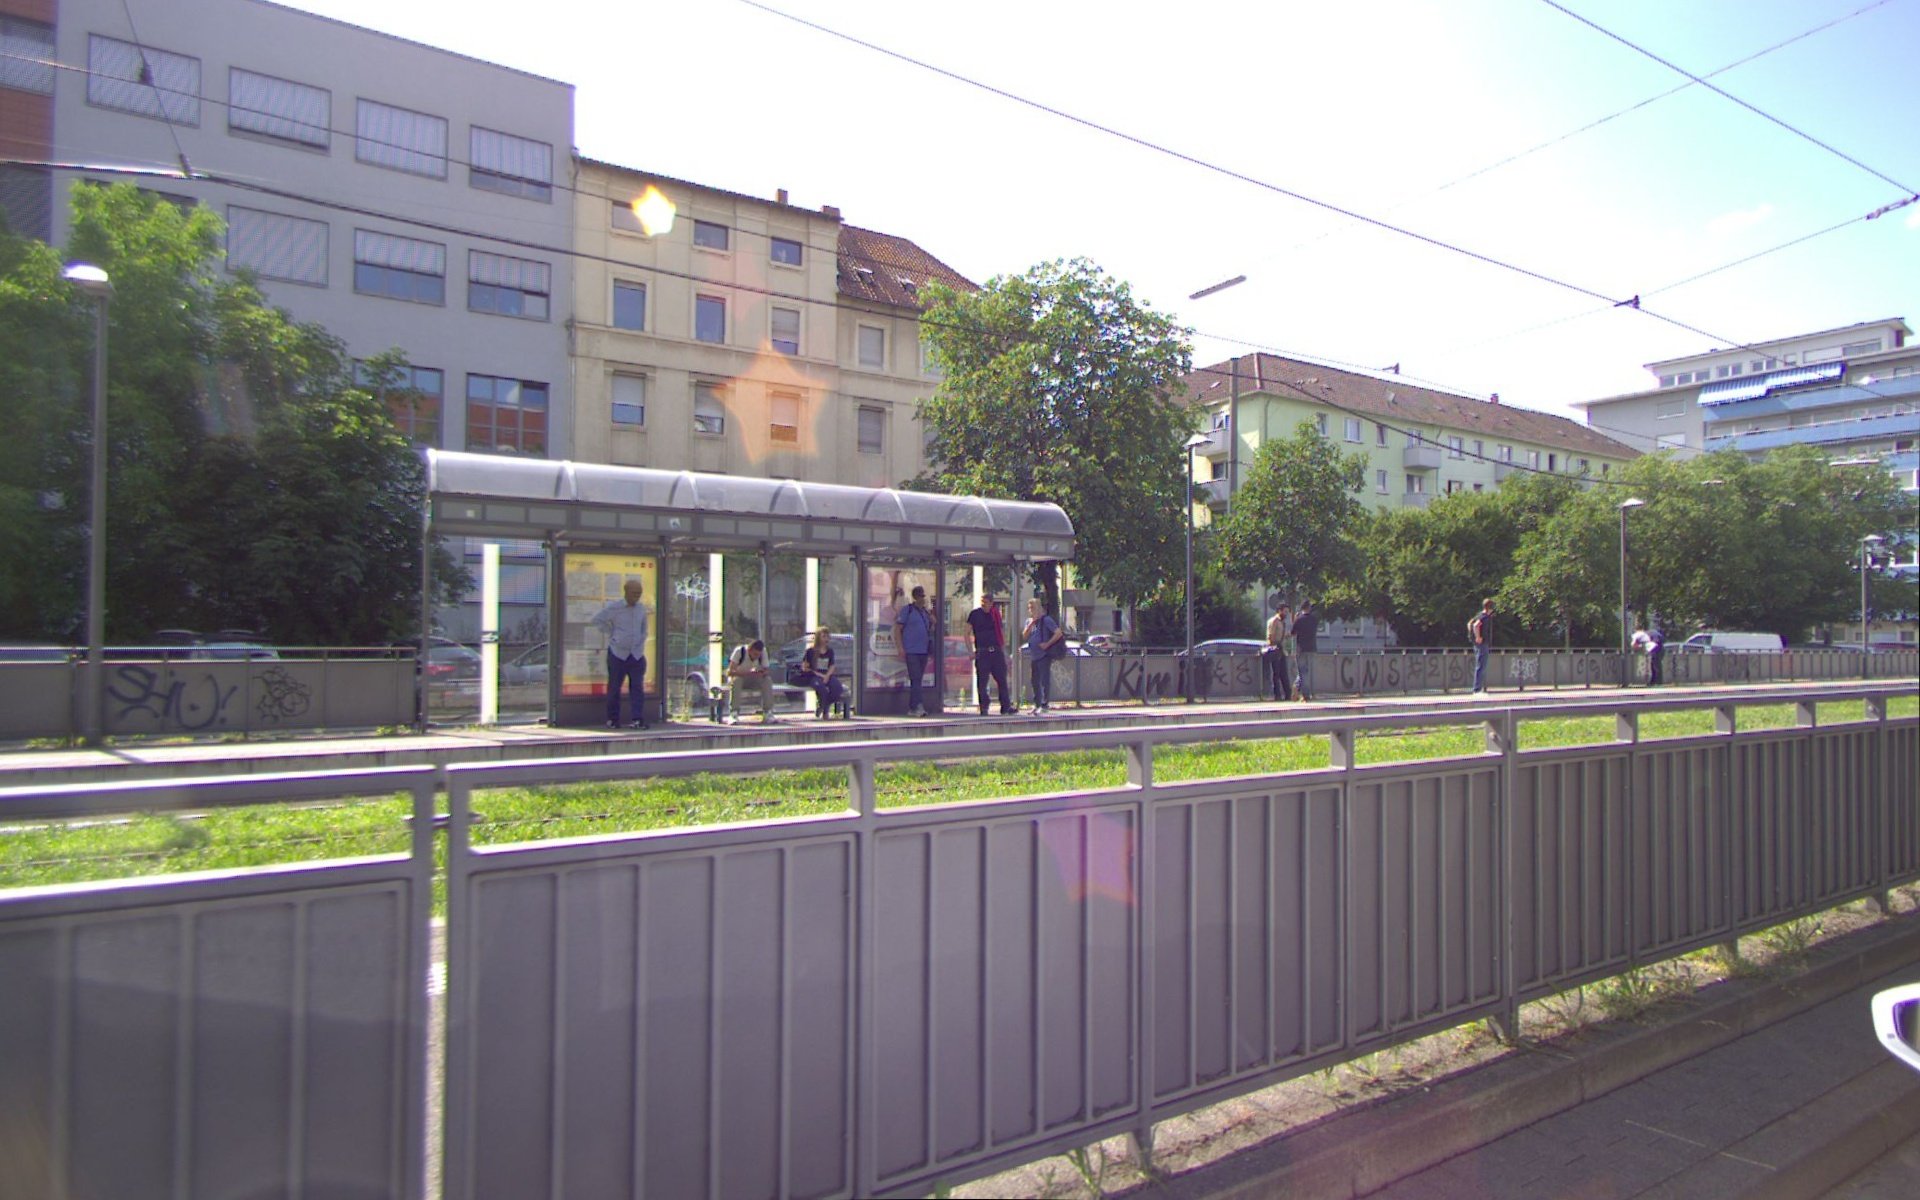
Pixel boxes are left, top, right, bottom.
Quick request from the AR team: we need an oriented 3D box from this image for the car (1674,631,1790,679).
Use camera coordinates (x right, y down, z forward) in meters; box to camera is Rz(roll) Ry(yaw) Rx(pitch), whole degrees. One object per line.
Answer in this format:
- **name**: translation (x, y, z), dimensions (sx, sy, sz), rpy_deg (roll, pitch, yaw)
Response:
- **car**: translation (35.017, 2.449, 45.714), dimensions (3.880, 2.097, 2.047), rpy_deg (-1, -2, 29)

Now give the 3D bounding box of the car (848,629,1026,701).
- **car**: translation (-0.558, 1.579, 25.024), dimensions (4.055, 1.661, 1.835), rpy_deg (0, -3, 21)

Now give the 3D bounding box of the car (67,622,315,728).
- **car**: translation (-13.208, 1.244, 17.252), dimensions (3.924, 1.661, 1.672), rpy_deg (-1, -4, 24)

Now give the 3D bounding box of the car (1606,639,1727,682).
- **car**: translation (30.097, 2.554, 42.942), dimensions (3.923, 1.661, 1.826), rpy_deg (0, -1, 23)

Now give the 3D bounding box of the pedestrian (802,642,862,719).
- **pedestrian**: translation (-1.740, 1.089, 13.641), dimensions (0.556, 1.008, 0.700), rpy_deg (2, -4, -33)

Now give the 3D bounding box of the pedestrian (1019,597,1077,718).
- **pedestrian**: translation (1.239, 0.794, 14.147), dimensions (0.555, 1.654, 0.590), rpy_deg (1, -2, -44)

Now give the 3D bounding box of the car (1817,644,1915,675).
- **car**: translation (49.021, 3.180, 54.434), dimensions (3.601, 1.600, 1.646), rpy_deg (-1, -2, 29)

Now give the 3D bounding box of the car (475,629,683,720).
- **car**: translation (-7.807, 1.453, 20.569), dimensions (3.923, 1.549, 1.672), rpy_deg (2, 0, 24)

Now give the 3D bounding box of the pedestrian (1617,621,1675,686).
- **pedestrian**: translation (17.309, 1.354, 25.346), dimensions (0.790, 1.599, 0.983), rpy_deg (2, -3, -33)

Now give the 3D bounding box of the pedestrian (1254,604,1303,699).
- **pedestrian**: translation (5.850, 0.945, 18.448), dimensions (0.618, 1.696, 0.604), rpy_deg (2, -2, -30)

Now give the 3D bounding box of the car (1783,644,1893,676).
- **car**: translation (44.915, 3.062, 51.491), dimensions (3.957, 1.534, 1.606), rpy_deg (-1, -2, 31)

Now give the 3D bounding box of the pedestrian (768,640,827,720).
- **pedestrian**: translation (-2.186, 1.067, 13.493), dimensions (0.556, 1.044, 0.650), rpy_deg (2, -4, -33)

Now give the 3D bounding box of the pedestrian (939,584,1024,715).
- **pedestrian**: translation (0.303, 0.698, 14.155), dimensions (1.025, 1.765, 0.628), rpy_deg (2, -3, -33)

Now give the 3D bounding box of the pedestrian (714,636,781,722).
- **pedestrian**: translation (-2.692, 0.988, 12.720), dimensions (0.617, 1.044, 0.715), rpy_deg (2, -4, -33)

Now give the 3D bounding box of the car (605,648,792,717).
- **car**: translation (-5.827, 1.778, 22.298), dimensions (3.929, 1.165, 1.789), rpy_deg (2, 0, 31)

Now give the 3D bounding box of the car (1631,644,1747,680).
- **car**: translation (32.244, 2.724, 44.551), dimensions (3.926, 1.505, 1.608), rpy_deg (-1, -2, 27)

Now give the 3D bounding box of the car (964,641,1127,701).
- **car**: translation (2.269, 1.829, 26.491), dimensions (3.944, 1.410, 1.816), rpy_deg (0, -1, 20)

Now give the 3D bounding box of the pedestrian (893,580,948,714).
- **pedestrian**: translation (-0.560, 0.669, 14.250), dimensions (0.617, 1.851, 0.440), rpy_deg (2, -2, -33)

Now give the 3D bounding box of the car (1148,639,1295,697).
- **car**: translation (7.763, 1.975, 29.714), dimensions (4.071, 1.585, 1.927), rpy_deg (0, -3, 19)

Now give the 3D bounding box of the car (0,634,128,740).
- **car**: translation (-14.704, 1.277, 15.484), dimensions (3.009, 1.428, 1.672), rpy_deg (2, -3, 24)

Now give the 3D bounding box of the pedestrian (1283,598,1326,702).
- **pedestrian**: translation (6.065, 0.872, 17.700), dimensions (0.612, 1.777, 0.609), rpy_deg (1, -2, 10)

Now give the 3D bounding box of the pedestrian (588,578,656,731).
- **pedestrian**: translation (-3.999, 0.640, 11.882), dimensions (0.617, 1.748, 0.483), rpy_deg (2, -2, -33)

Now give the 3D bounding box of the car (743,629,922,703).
- **car**: translation (-2.992, 1.496, 23.519), dimensions (3.926, 1.589, 1.608), rpy_deg (0, -2, 27)

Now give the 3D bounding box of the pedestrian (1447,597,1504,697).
- **pedestrian**: translation (10.160, 0.918, 19.792), dimensions (0.631, 1.916, 0.747), rpy_deg (4, -3, -28)

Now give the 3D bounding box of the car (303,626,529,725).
- **car**: translation (-10.216, 1.344, 18.861), dimensions (3.924, 1.549, 1.671), rpy_deg (2, 0, 24)
